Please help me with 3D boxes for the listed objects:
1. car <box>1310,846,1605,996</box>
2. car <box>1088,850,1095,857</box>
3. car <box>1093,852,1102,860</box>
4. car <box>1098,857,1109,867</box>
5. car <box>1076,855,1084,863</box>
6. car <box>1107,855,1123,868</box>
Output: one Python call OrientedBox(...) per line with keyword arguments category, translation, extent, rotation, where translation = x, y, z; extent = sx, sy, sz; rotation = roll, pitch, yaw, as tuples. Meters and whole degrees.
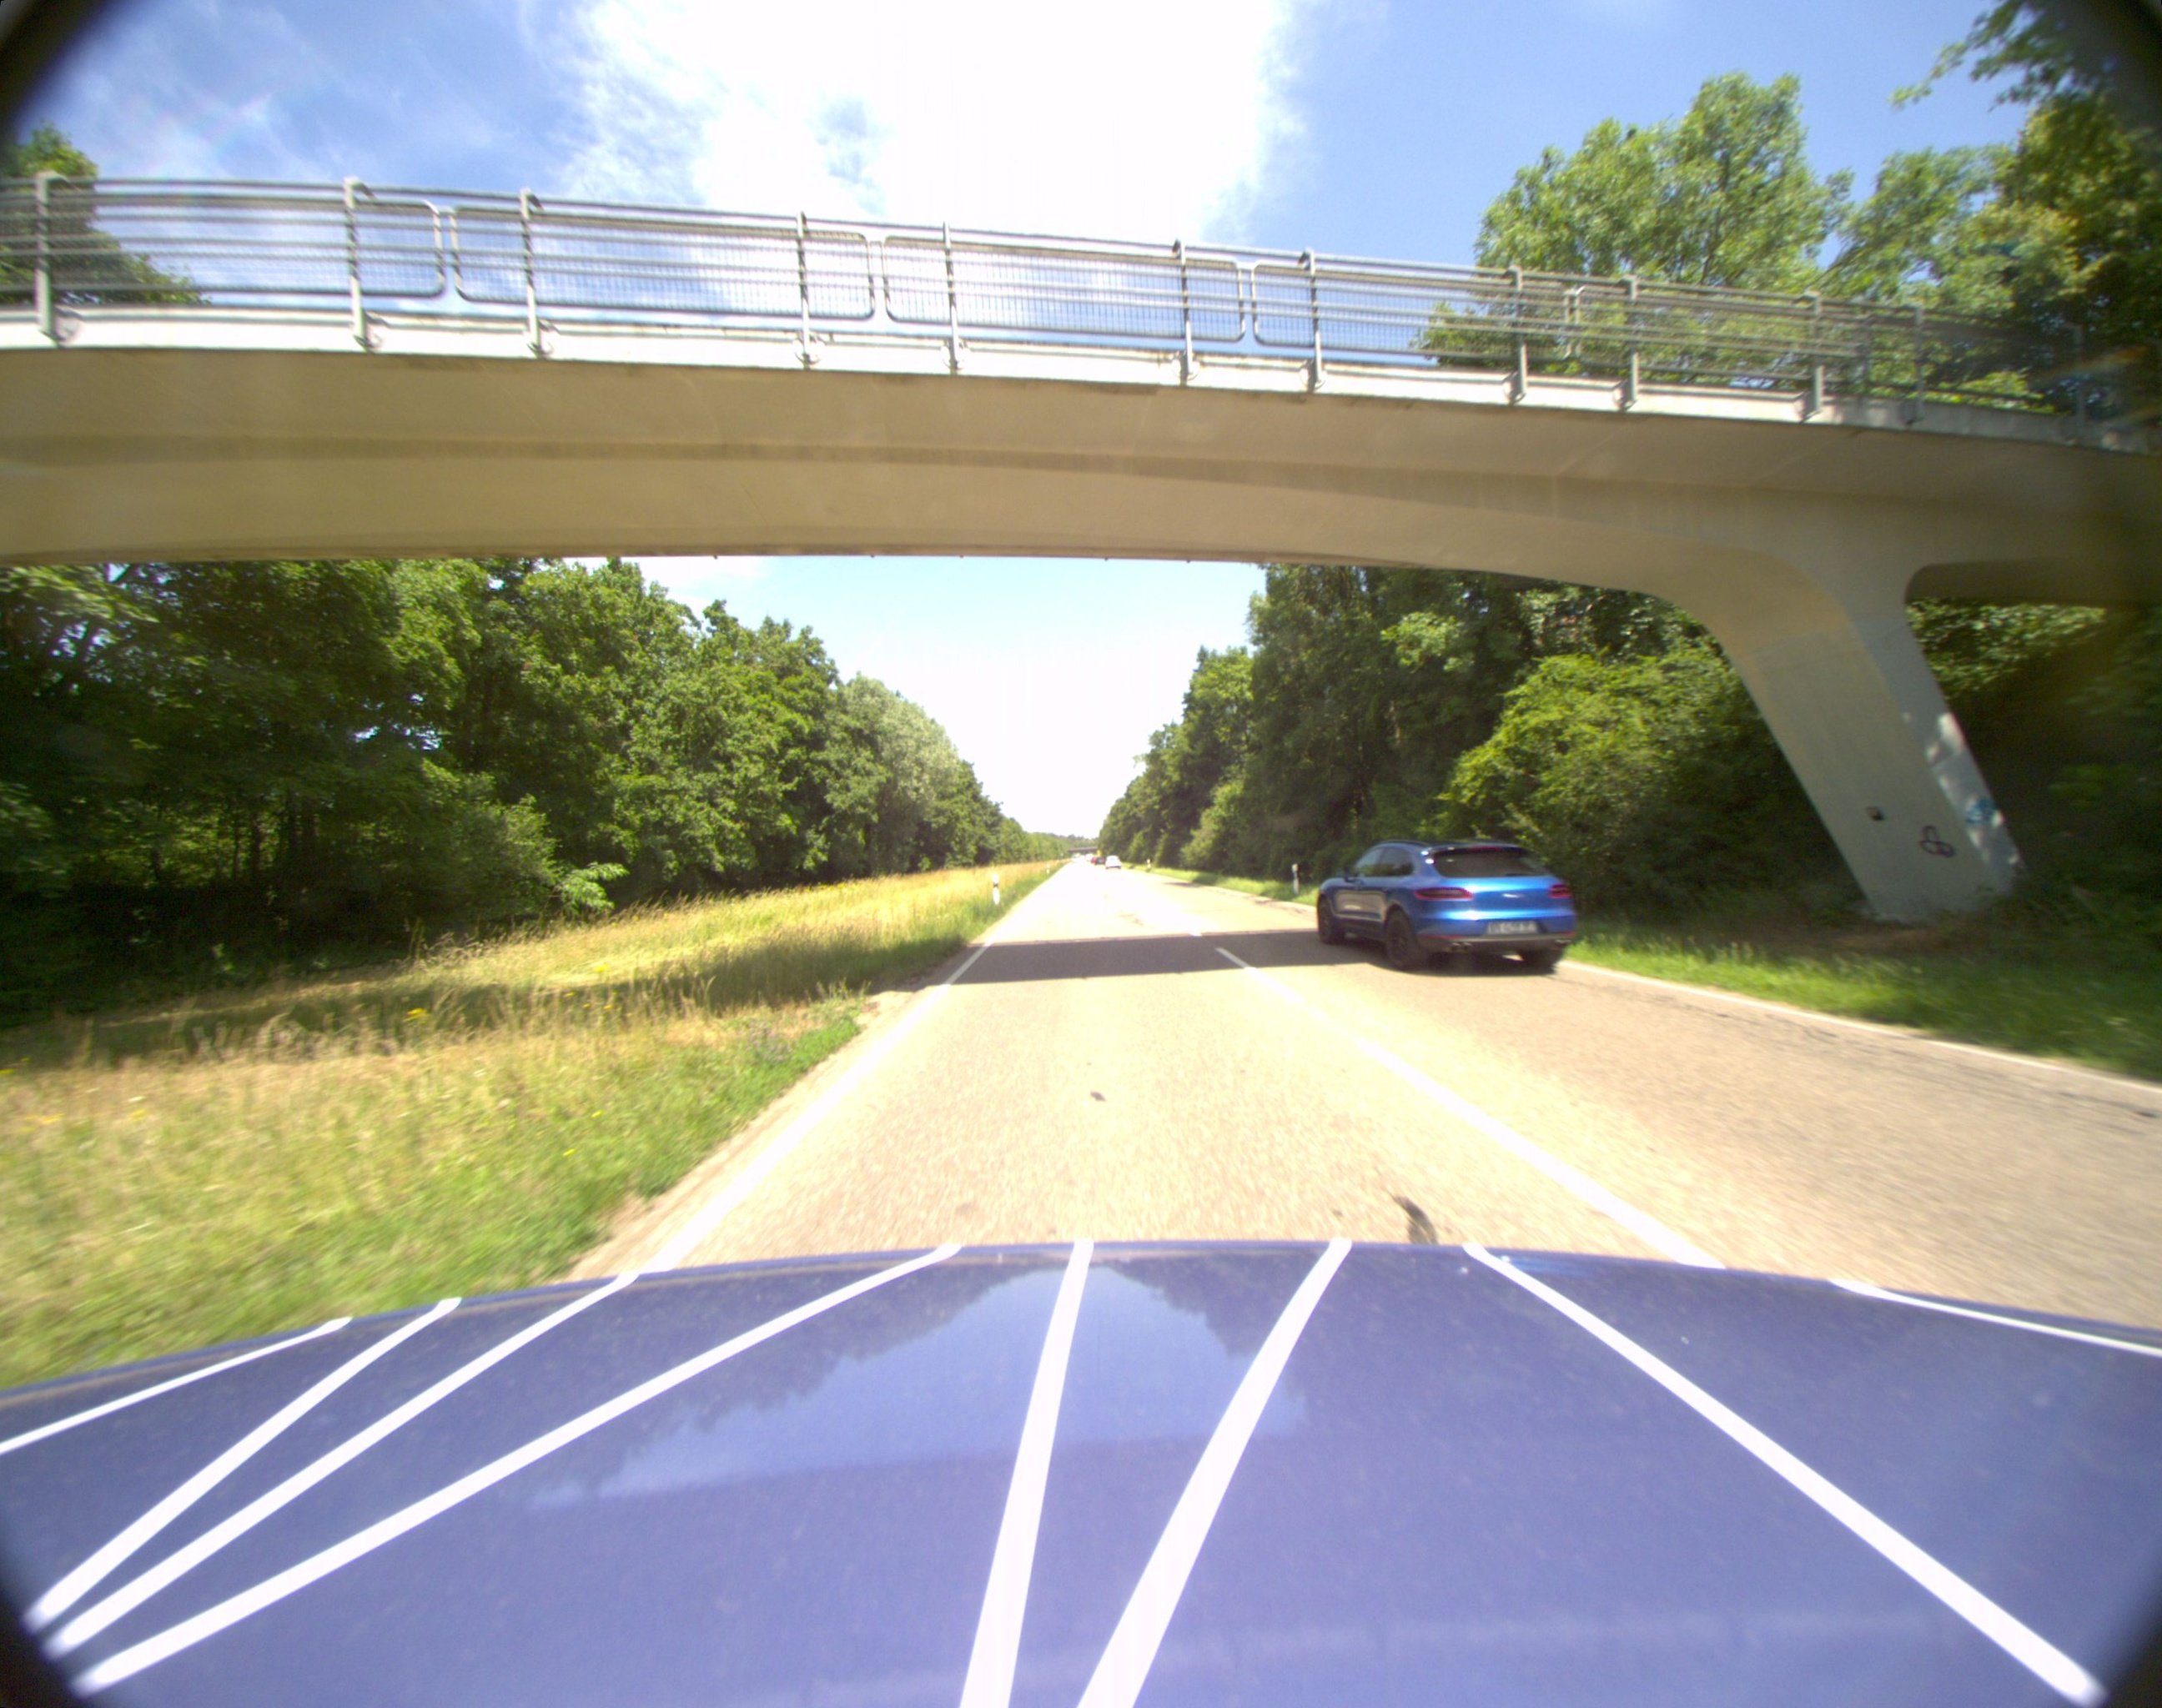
OrientedBox(category="car", translation=(4.695, 0.713, 10.337), extent=(1.828, 1.580, 4.419), rotation=(-1, 0, 0))
OrientedBox(category="car", translation=(3.018, -0.057, 214.142), extent=(1.880, 1.917, 4.987), rotation=(-2, 0, 0))
OrientedBox(category="car", translation=(3.393, 0.470, 152.349), extent=(1.686, 1.484, 4.000), rotation=(-2, 0, 2))
OrientedBox(category="car", translation=(3.640, 1.305, 124.744), extent=(1.788, 1.441, 4.109), rotation=(-2, 0, 1))
OrientedBox(category="car", translation=(-0.235, 1.099, 182.445), extent=(1.865, 1.747, 3.999), rotation=(-2, 0, -1))
OrientedBox(category="car", translation=(3.944, 0.805, 88.545), extent=(1.682, 1.425, 3.772), rotation=(-1, 0, 0))
